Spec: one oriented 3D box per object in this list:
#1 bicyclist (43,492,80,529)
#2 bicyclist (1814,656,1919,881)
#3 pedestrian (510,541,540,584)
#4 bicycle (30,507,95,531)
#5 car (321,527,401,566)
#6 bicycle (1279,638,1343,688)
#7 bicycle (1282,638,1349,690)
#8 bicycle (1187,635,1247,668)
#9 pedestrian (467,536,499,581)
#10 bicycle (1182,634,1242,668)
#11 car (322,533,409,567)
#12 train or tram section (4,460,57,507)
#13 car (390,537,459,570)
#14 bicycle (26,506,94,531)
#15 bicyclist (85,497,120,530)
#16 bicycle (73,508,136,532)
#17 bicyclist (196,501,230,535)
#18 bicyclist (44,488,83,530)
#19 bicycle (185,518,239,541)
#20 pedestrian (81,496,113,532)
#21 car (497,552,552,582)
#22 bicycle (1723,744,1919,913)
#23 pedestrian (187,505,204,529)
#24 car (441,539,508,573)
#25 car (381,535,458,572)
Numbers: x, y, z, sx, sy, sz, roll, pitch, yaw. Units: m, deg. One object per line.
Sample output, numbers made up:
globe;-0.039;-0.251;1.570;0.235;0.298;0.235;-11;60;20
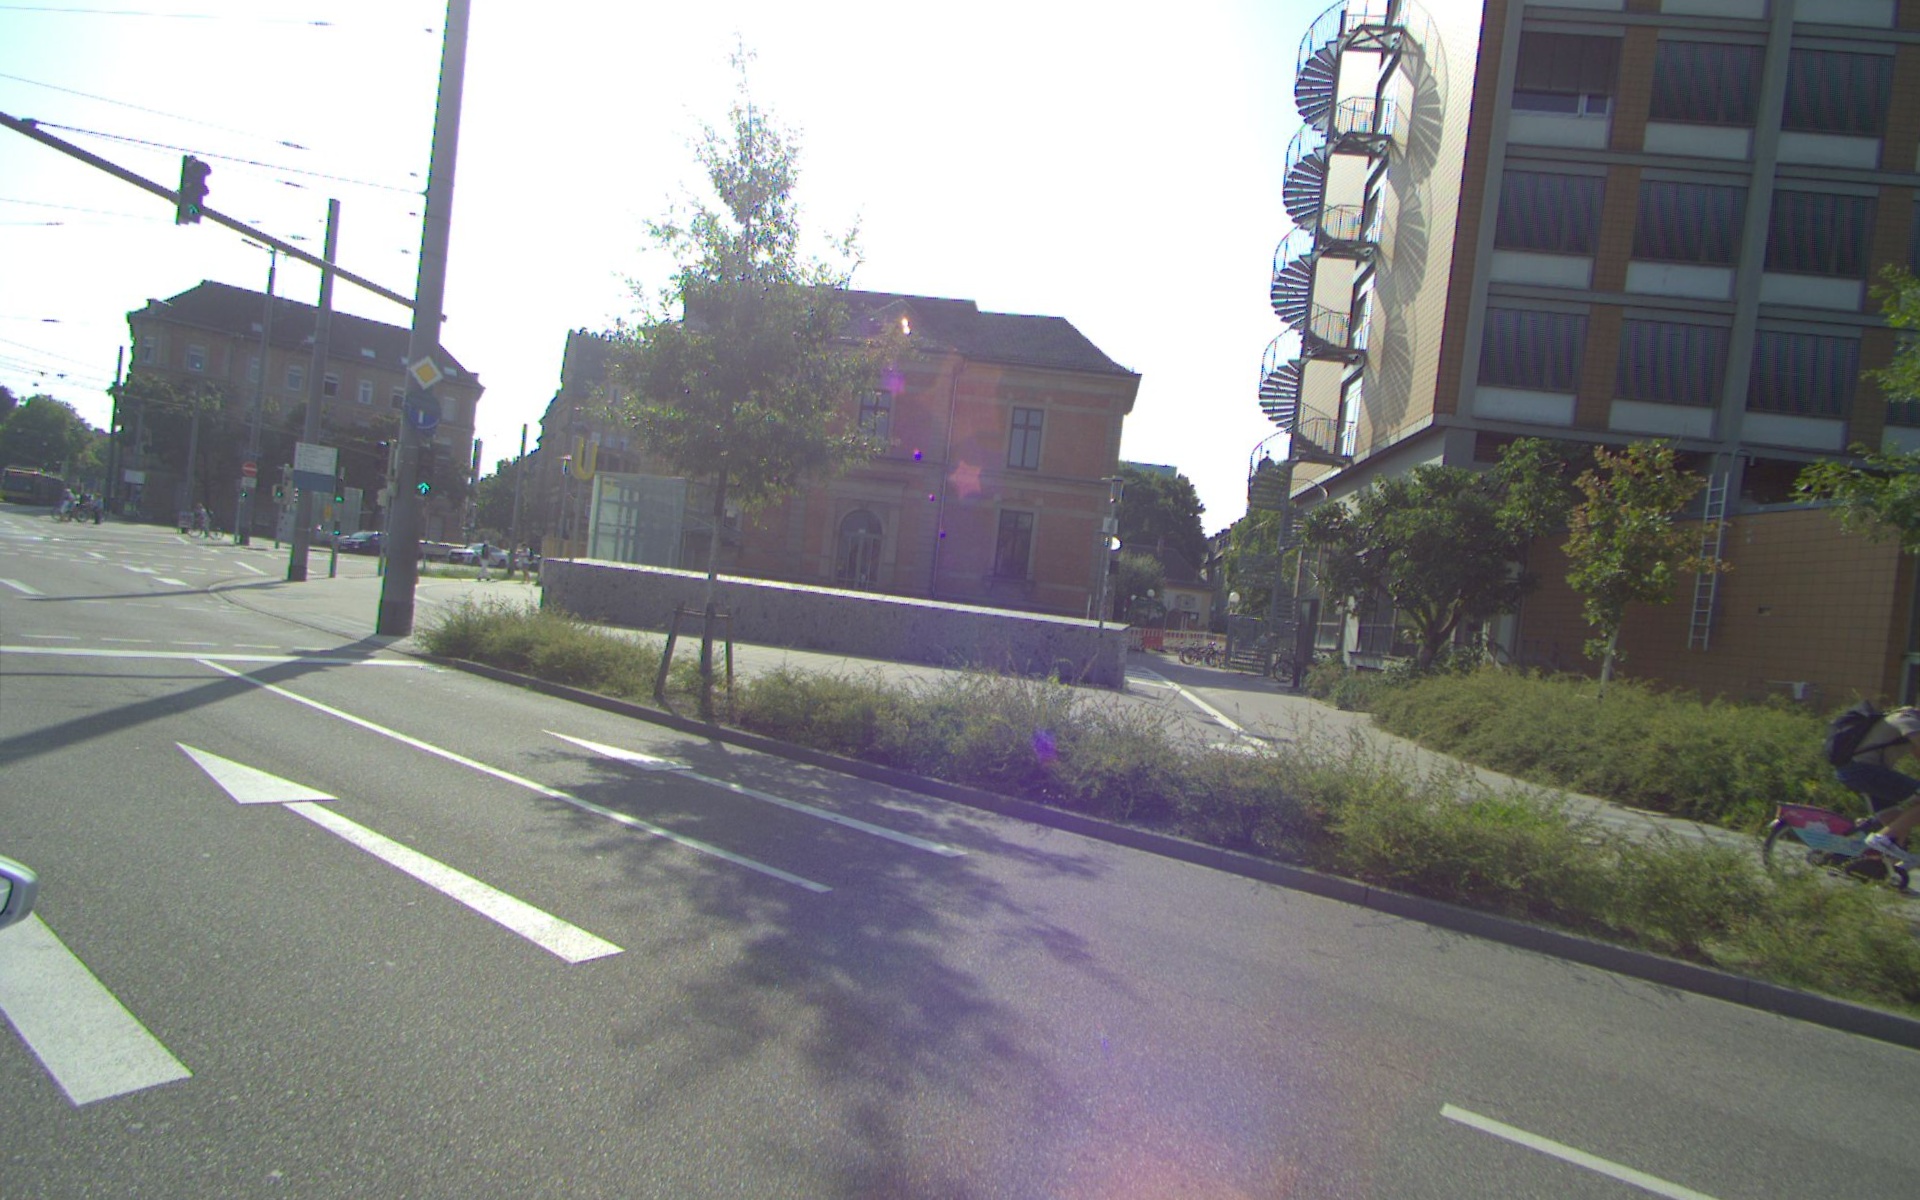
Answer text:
bicyclist;-49.515;-4.917;55.426;1.072;1.822;0.937;7;1;12
bicyclist;7.035;1.239;7.359;0.989;1.532;0.719;7;1;35
pedestrian;-18.850;-1.617;43.619;0.908;1.711;0.922;7;0;-15
bicycle;-47.975;-4.311;53.829;1.073;0.976;2.625;7;0;-2
car;-37.034;-3.261;62.363;1.874;1.881;4.253;7;0;8
bicycle;11.640;2.086;33.430;1.781;1.451;0.608;7;1;8
bicycle;11.464;2.054;32.513;1.803;1.451;0.608;7;1;8
bicycle;10.297;2.051;40.313;2.152;1.067;0.631;7;1;3
pedestrian;-19.711;-1.703;41.597;0.909;1.711;0.834;7;0;-18
bicycle;10.290;2.086;41.127;2.200;1.084;0.579;7;1;3
car;-34.545;-2.864;58.580;1.985;1.414;4.390;7;-1;8
train or tram section;-85.616;-10.669;92.757;2.642;3.746;10.472;6;1;-39
car;-39.742;-3.458;74.807;1.895;1.881;4.275;7;0;17
bicycle;-49.564;-4.493;55.451;1.072;0.976;2.628;7;0;11
bicyclist;-49.470;-4.991;58.041;1.072;1.701;0.937;7;1;12
bicycle;-49.481;-4.617;58.241;1.072;0.976;2.628;7;0;11
bicyclist;-42.395;-4.668;57.114;1.073;1.730;0.936;7;1;-2
bicyclist;-47.915;-4.859;53.774;1.073;2.050;0.936;7;1;-2
bicycle;-42.478;-3.975;57.166;1.073;0.976;2.625;7;0;-2
pedestrian;-47.943;-4.756;55.895;0.845;1.820;0.927;6;1;-6
car;-34.201;-2.577;79.138;1.874;1.881;4.253;7;0;8
bicycle;6.899;1.729;7.432;1.891;0.972;0.719;7;1;36
pedestrian;-49.644;-5.391;65.324;0.537;1.489;0.667;6;1;-9
car;-34.962;-3.135;72.590;2.006;1.881;4.667;7;-1;8
car;-36.136;-3.076;67.377;1.873;1.881;4.712;7;-1;10
